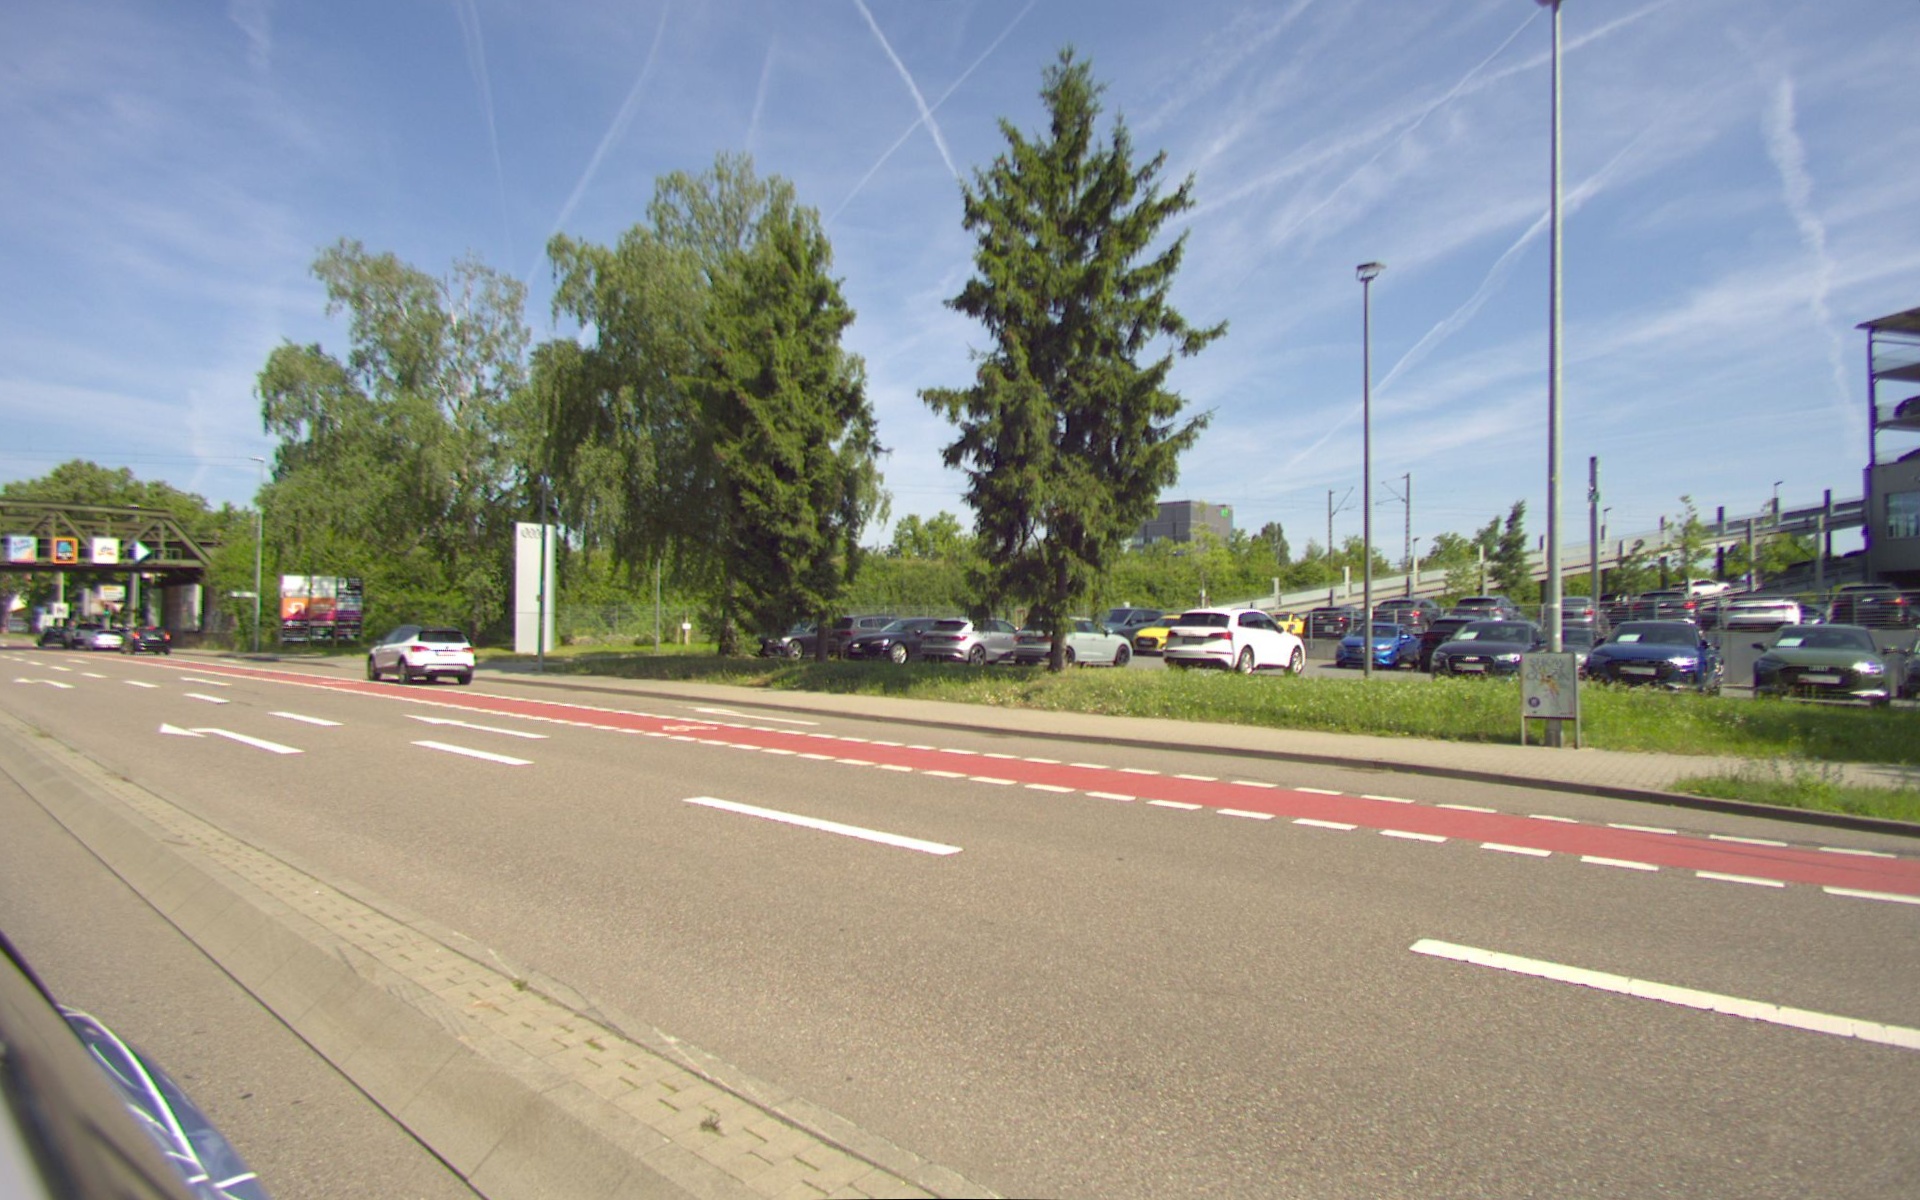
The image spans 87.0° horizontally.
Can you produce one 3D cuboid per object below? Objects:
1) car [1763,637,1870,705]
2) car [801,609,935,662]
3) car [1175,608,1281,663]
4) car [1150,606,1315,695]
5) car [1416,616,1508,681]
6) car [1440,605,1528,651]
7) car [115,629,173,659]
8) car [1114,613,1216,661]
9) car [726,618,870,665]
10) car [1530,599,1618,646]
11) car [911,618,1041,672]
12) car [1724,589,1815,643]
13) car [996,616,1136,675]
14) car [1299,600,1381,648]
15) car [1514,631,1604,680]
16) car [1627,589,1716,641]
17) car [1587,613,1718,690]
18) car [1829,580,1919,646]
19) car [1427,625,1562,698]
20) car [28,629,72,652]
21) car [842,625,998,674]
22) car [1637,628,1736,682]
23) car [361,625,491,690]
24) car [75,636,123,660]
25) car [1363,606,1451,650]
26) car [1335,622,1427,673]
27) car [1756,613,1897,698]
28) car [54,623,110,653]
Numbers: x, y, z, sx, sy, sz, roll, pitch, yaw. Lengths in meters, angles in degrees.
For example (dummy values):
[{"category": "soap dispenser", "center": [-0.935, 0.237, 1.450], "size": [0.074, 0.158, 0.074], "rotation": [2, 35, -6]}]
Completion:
[{"category": "car", "center": [21.467, 1.720, 25.481], "size": [1.889, 1.429, 3.948], "rotation": [-1, -1, 39]}, {"category": "car", "center": [-2.954, 1.118, 33.180], "size": [1.999, 1.558, 4.170], "rotation": [-1, -1, 41]}, {"category": "car", "center": [9.368, 1.200, 35.251], "size": [1.999, 1.770, 3.945], "rotation": [-2, -1, 41]}, {"category": "car", "center": [6.568, 1.120, 24.085], "size": [2.000, 1.889, 4.415], "rotation": [-2, -1, 42]}, {"category": "car", "center": [14.931, 1.383, 30.000], "size": [1.642, 1.735, 3.734], "rotation": [-1, -1, 39]}, {"category": "car", "center": [18.402, 0.950, 35.445], "size": [1.997, 1.488, 4.162], "rotation": [-1, -1, 38]}, {"category": "car", "center": [-43.673, 2.358, 54.142], "size": [4.025, 1.530, 1.680], "rotation": [-1, -4, 41]}, {"category": "car", "center": [7.623, 1.317, 37.389], "size": [1.999, 1.634, 3.945], "rotation": [-2, -1, 41]}, {"category": "car", "center": [-5.416, 1.367, 34.348], "size": [1.999, 1.400, 4.638], "rotation": [-1, -1, 41]}, {"category": "car", "center": [20.377, 0.706, 33.495], "size": [1.889, 1.429, 4.455], "rotation": [-1, -1, 39]}, {"category": "car", "center": [0.509, 1.234, 28.852], "size": [1.815, 1.381, 3.642], "rotation": [-1, -1, 41]}, {"category": "car", "center": [24.315, 0.528, 30.417], "size": [1.978, 1.496, 4.455], "rotation": [-1, -2, 39]}, {"category": "car", "center": [3.038, 1.221, 28.470], "size": [1.848, 1.497, 3.942], "rotation": [-2, -1, 44]}, {"category": "car", "center": [14.587, 0.896, 38.740], "size": [1.996, 1.746, 3.952], "rotation": [-1, -1, 36]}, {"category": "car", "center": [16.833, 1.507, 28.370], "size": [1.642, 1.206, 3.734], "rotation": [-1, -1, 39]}, {"category": "car", "center": [22.466, 0.517, 31.890], "size": [1.978, 1.496, 4.455], "rotation": [-1, -2, 39]}, {"category": "car", "center": [13.048, 0.980, 18.984], "size": [1.743, 1.295, 3.558], "rotation": [-1, -4, 39]}, {"category": "car", "center": [25.795, 0.414, 28.634], "size": [1.663, 1.718, 4.226], "rotation": [-1, -2, 39]}, {"category": "car", "center": [11.001, 1.188, 20.715], "size": [1.743, 1.295, 3.754], "rotation": [-1, -1, 39]}, {"category": "car", "center": [-67.966, 3.009, 75.556], "size": [4.384, 1.608, 1.853], "rotation": [-1, -3, 41]}, {"category": "car", "center": [-1.124, 1.442, 30.739], "size": [1.999, 1.278, 4.801], "rotation": [-1, -1, 41]}, {"category": "car", "center": [18.922, 1.426, 26.303], "size": [1.863, 1.295, 3.558], "rotation": [-1, -4, 39]}, {"category": "car", "center": [-14.543, 1.521, 27.473], "size": [1.970, 1.630, 4.106], "rotation": [4, -4, -45]}, {"category": "car", "center": [-53.304, 2.957, 62.650], "size": [4.316, 1.398, 1.618], "rotation": [-1, -3, 42]}, {"category": "car", "center": [16.418, 1.004, 37.036], "size": [1.997, 1.488, 4.162], "rotation": [-1, -1, 38]}, {"category": "car", "center": [13.159, 1.439, 31.521], "size": [1.642, 1.412, 3.693], "rotation": [-1, -1, 39]}, {"category": "car", "center": [14.821, 0.959, 17.436], "size": [1.661, 1.295, 3.705], "rotation": [-1, -4, 39]}, {"category": "car", "center": [-58.616, 2.503, 67.508], "size": [5.448, 1.875, 1.973], "rotation": [-1, -5, 41]}]
